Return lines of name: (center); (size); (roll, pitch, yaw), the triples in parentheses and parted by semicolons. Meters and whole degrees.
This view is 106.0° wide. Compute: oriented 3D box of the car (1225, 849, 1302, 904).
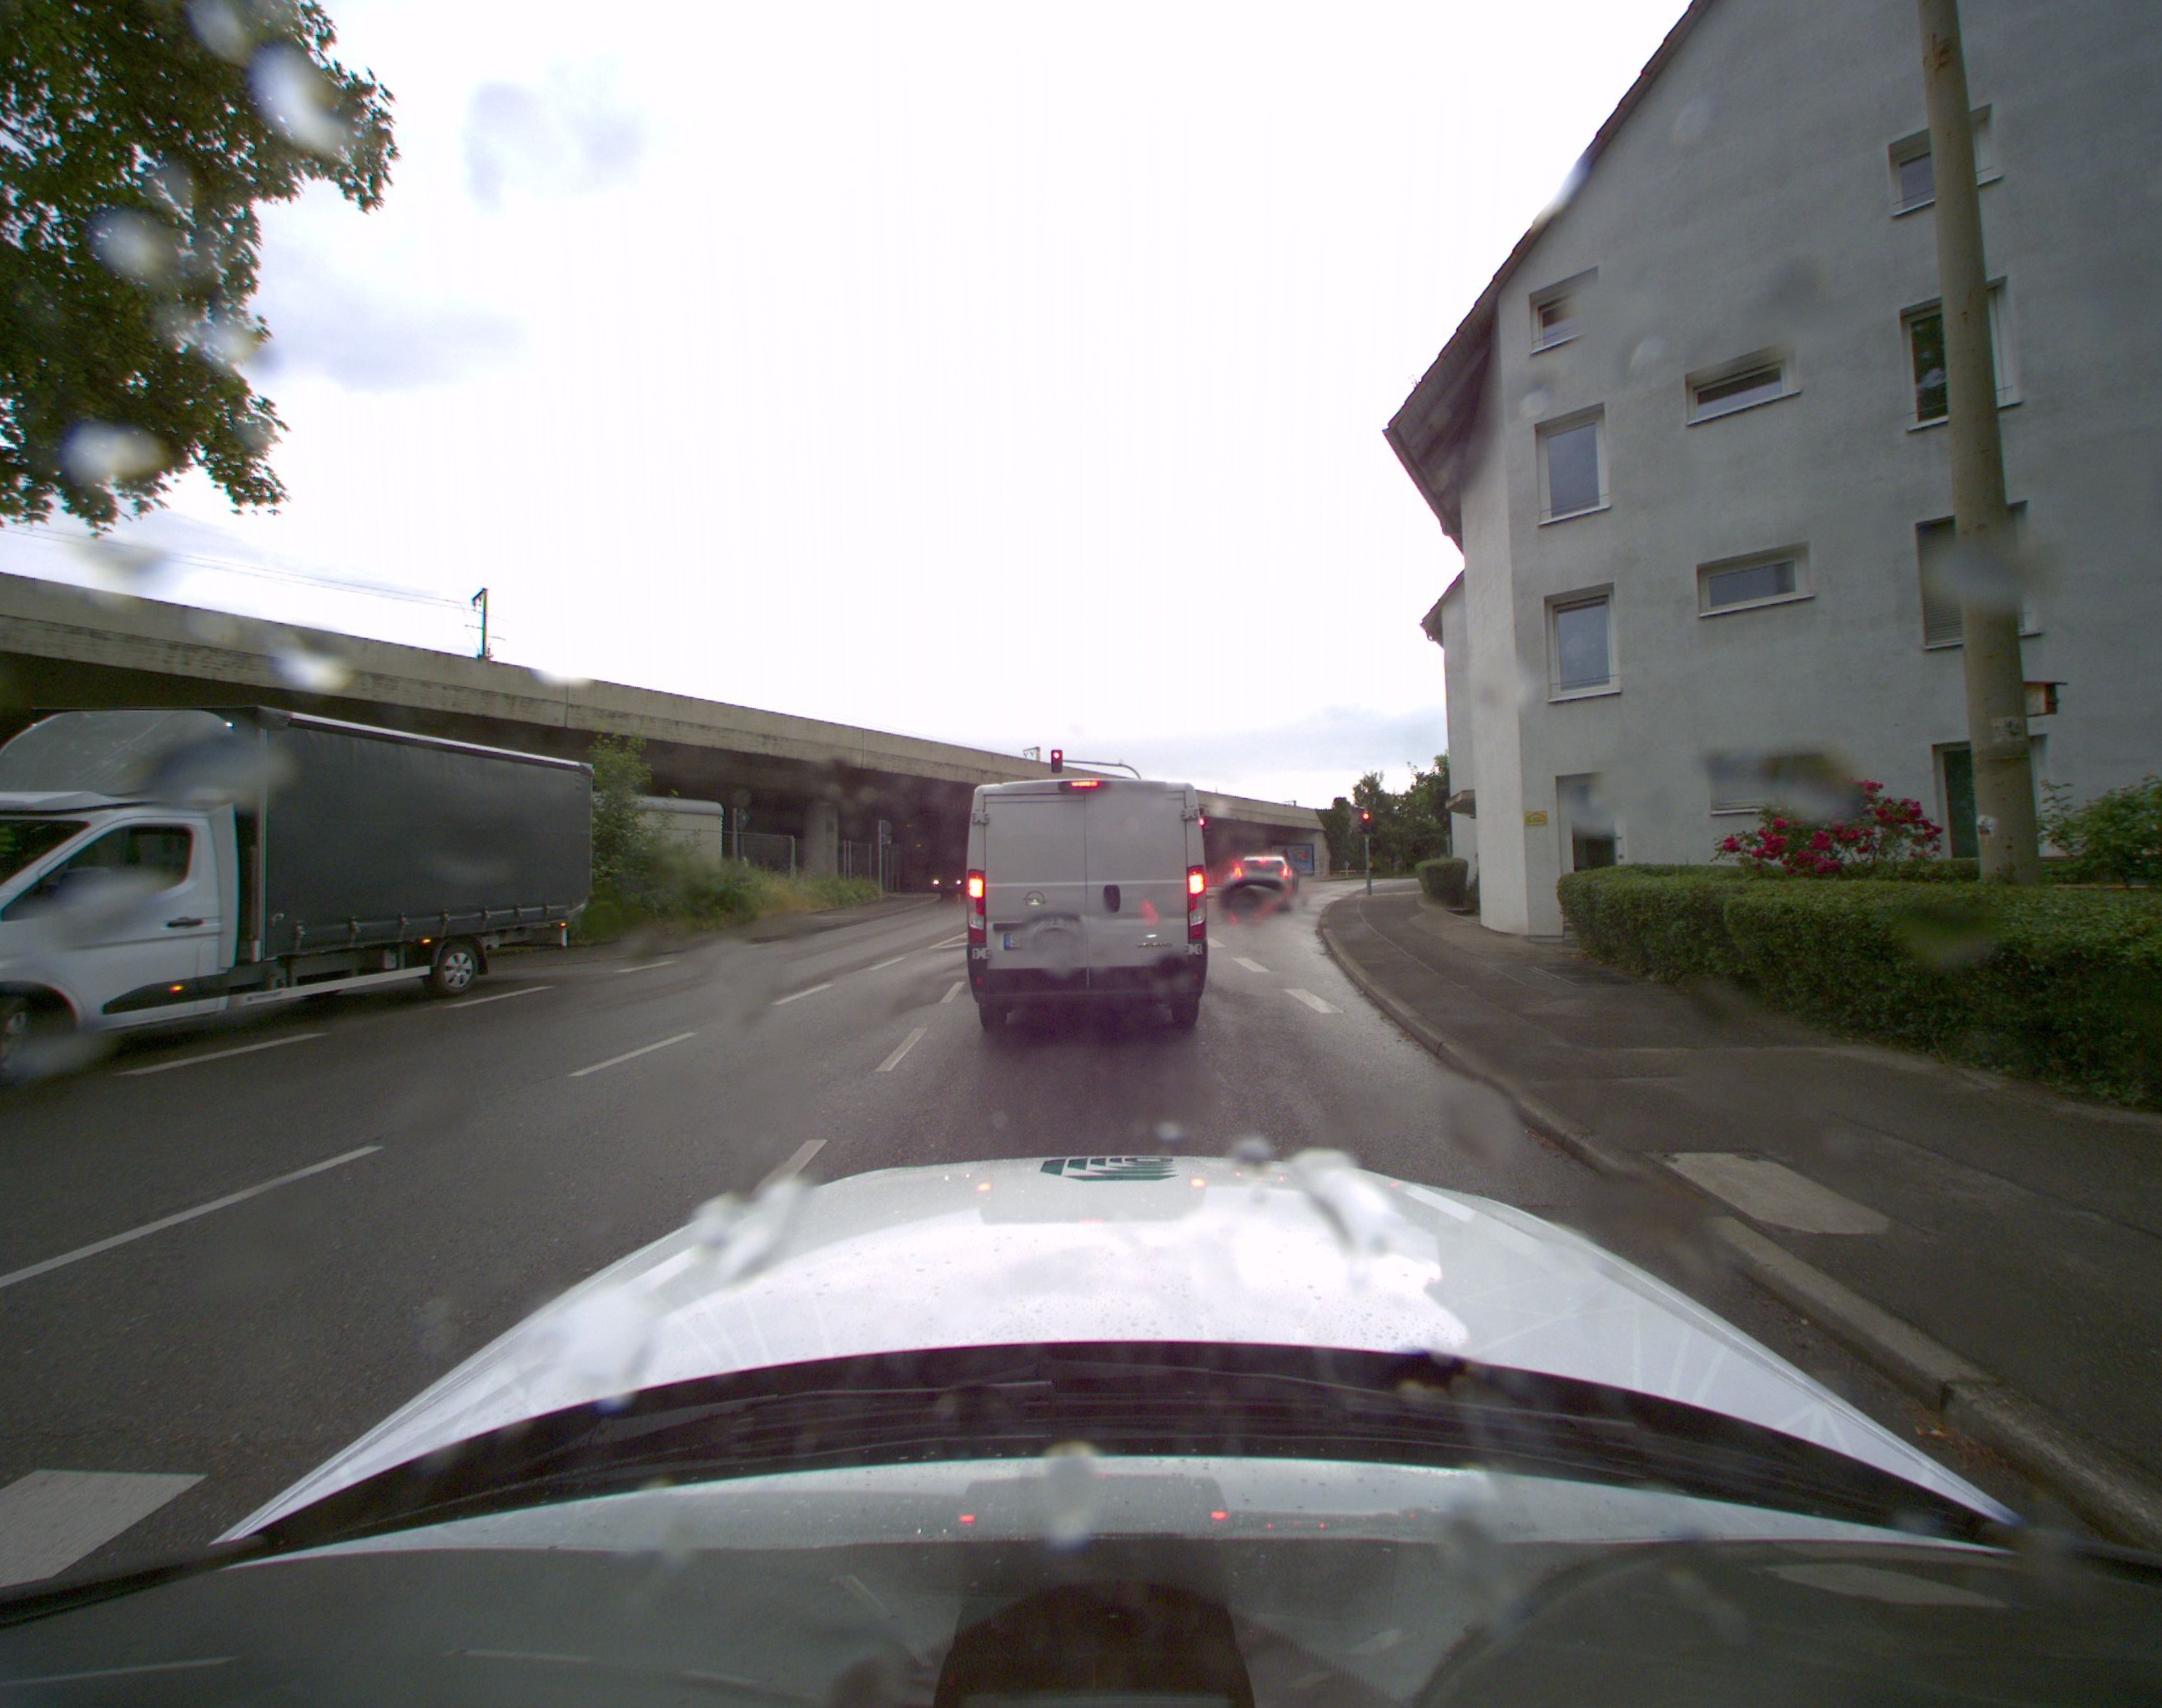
car: (5.744, 0.696, 25.256); (1.978, 1.549, 4.017); (-2, -2, 17)

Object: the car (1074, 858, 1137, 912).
car: (0.935, 1.069, 28.756); (1.984, 1.729, 4.004); (-1, -2, 5)

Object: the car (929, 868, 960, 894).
car: (-9.152, 1.782, 54.449); (1.915, 1.626, 4.417); (-1, -1, -11)

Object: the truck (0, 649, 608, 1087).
truck: (-9.089, 0.181, 9.177); (2.599, 3.237, 7.782); (-1, -1, 3)

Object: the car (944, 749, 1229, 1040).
car: (0.235, 0.374, 9.279); (2.294, 2.343, 5.288); (-1, -1, 4)
